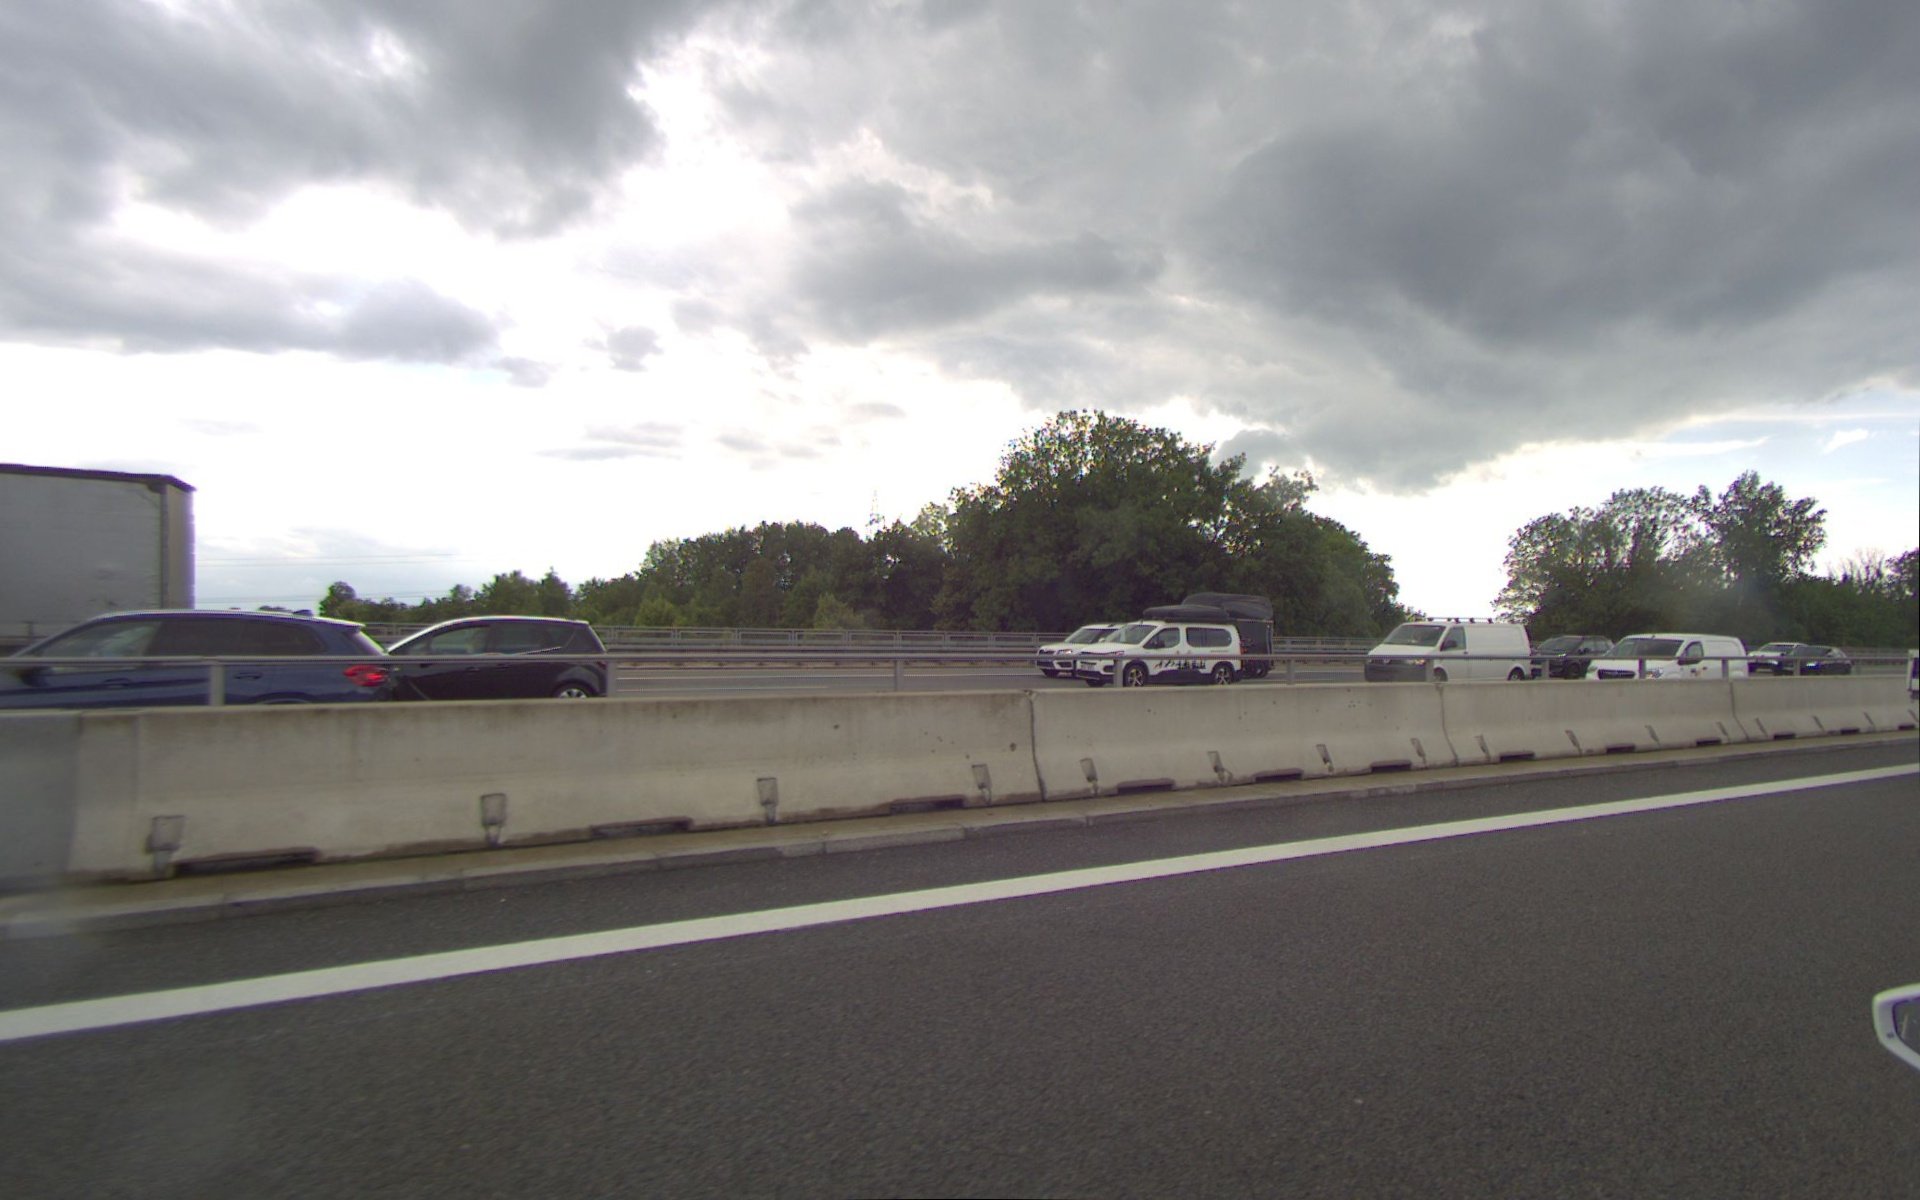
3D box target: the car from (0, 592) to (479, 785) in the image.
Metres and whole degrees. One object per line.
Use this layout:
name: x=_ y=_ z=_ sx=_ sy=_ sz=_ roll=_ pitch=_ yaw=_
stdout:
car: x=-7.860 y=0.811 z=10.123 sx=5.315 sy=1.667 sz=2.051 roll=2 pitch=-2 yaw=-29

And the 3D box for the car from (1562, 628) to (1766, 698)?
car: x=17.583 y=1.534 z=25.037 sx=5.404 sy=1.555 sz=2.051 roll=2 pitch=-2 yaw=-29

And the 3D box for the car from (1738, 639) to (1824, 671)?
car: x=41.513 y=2.791 z=50.782 sx=4.461 sy=1.484 sz=1.717 roll=2 pitch=-1 yaw=-27

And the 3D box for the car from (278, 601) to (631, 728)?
car: x=-7.504 y=0.931 z=15.241 sx=4.464 sy=1.667 sz=2.051 roll=2 pitch=-2 yaw=-29

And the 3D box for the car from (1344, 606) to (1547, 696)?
car: x=13.290 y=1.378 z=27.392 sx=5.823 sy=2.265 sz=2.051 roll=2 pitch=-2 yaw=-29

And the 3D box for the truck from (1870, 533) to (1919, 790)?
truck: x=12.666 y=0.652 z=10.779 sx=7.064 sy=2.472 sz=2.296 roll=1 pitch=-1 yaw=-30

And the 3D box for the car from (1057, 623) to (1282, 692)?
car: x=5.681 y=1.508 z=26.869 sx=6.046 sy=1.667 sz=2.051 roll=2 pitch=-2 yaw=-29

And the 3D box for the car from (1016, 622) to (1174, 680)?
car: x=4.148 y=1.547 z=30.750 sx=4.464 sy=1.667 sz=2.051 roll=2 pitch=-2 yaw=-29

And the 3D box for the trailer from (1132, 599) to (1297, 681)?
trailer: x=8.401 y=1.299 z=33.072 sx=5.163 sy=2.516 sz=2.191 roll=2 pitch=-2 yaw=-29

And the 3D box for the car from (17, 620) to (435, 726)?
car: x=-11.977 y=1.180 z=17.008 sx=5.404 sy=1.555 sz=2.051 roll=2 pitch=-2 yaw=-29

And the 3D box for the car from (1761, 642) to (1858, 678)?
car: x=37.877 y=2.669 z=44.759 sx=4.461 sy=1.484 sz=1.717 roll=2 pitch=-1 yaw=-27

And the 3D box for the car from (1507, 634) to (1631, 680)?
car: x=21.793 y=2.040 z=35.913 sx=4.461 sy=1.484 sz=1.717 roll=2 pitch=-1 yaw=-27

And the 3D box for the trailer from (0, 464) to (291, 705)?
trailer: x=-19.841 y=-0.316 z=16.653 sx=14.278 sy=4.085 sz=2.919 roll=1 pitch=-1 yaw=-30

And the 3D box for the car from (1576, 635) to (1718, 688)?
car: x=22.162 y=1.956 z=32.387 sx=4.464 sy=1.555 sz=2.051 roll=2 pitch=-2 yaw=-29

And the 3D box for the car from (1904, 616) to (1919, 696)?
car: x=37.868 y=1.985 z=36.684 sx=9.049 sy=2.786 sz=2.222 roll=0 pitch=-1 yaw=-28
